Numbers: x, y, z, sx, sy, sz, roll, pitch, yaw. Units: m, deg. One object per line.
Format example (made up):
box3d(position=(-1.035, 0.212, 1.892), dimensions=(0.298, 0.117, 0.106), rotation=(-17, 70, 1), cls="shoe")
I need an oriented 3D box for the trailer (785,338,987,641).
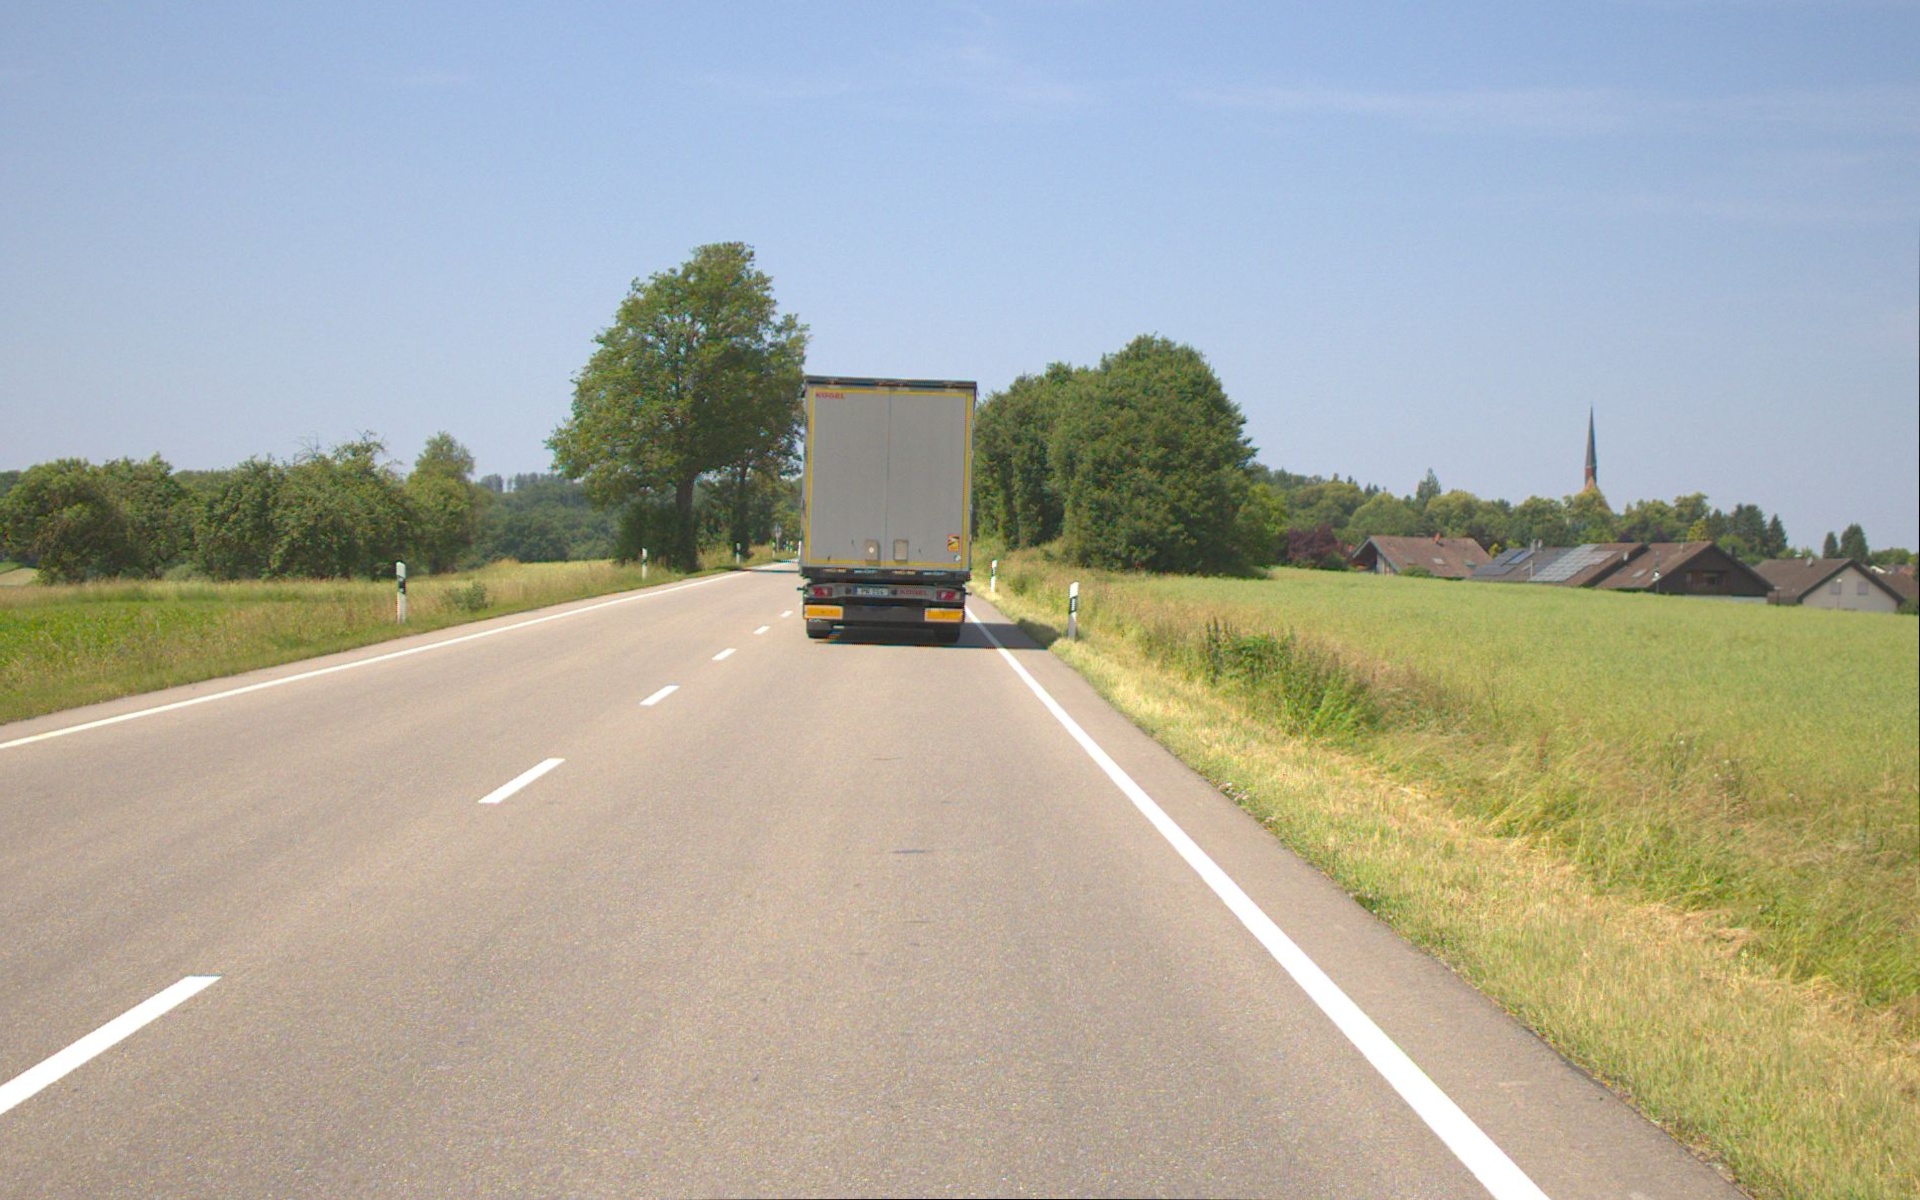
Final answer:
box3d(position=(-1.267, -1.767, 57.490), dimensions=(2.867, 4.385, 13.494), rotation=(2, 1, -2), cls="trailer")
